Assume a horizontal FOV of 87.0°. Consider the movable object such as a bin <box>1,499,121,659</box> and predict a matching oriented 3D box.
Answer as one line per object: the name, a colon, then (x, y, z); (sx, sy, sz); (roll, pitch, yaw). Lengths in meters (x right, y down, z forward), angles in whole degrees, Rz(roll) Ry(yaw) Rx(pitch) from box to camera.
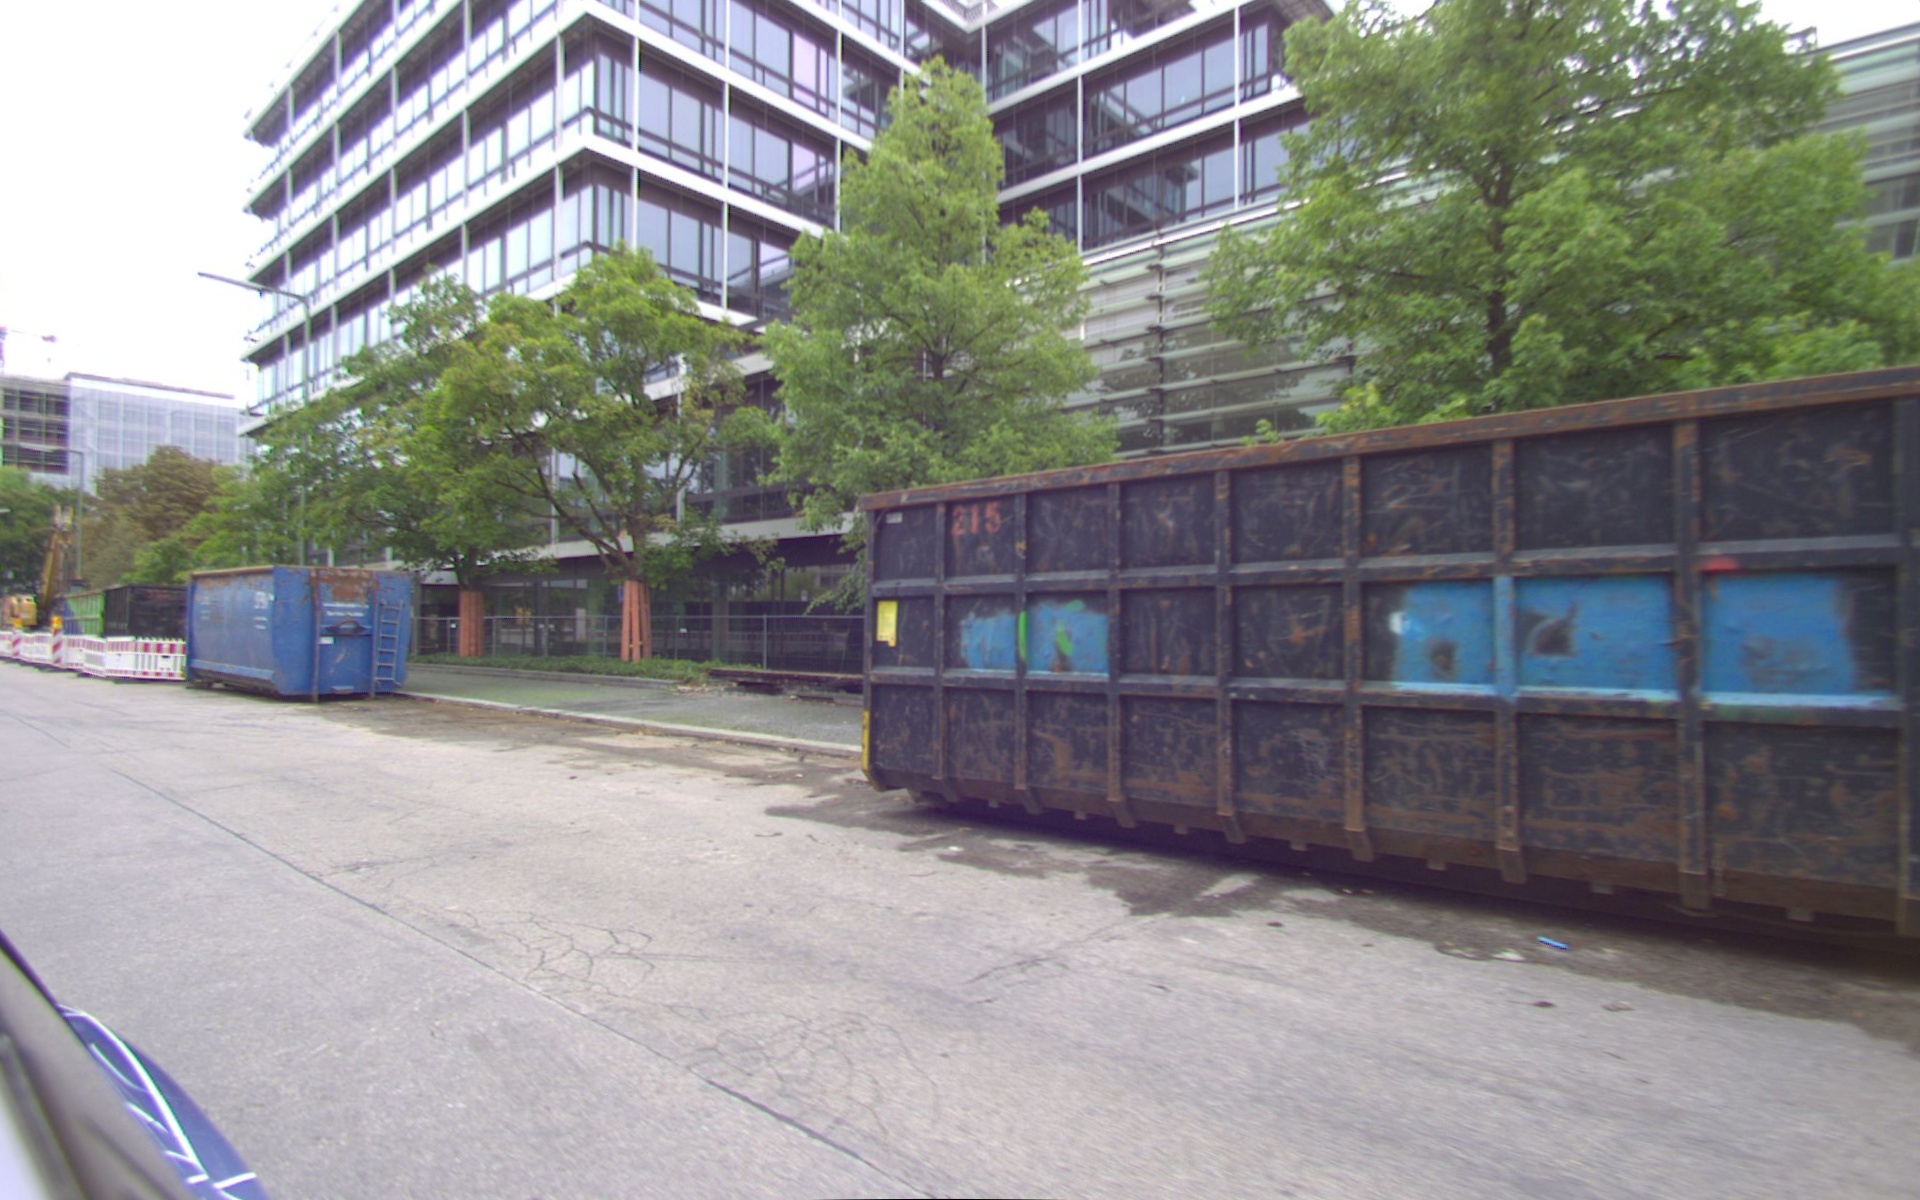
movable object such as a bin: (-39.444, -0.728, 44.299); (8.338, 6.370, 3.198); (-1, -2, 44)
